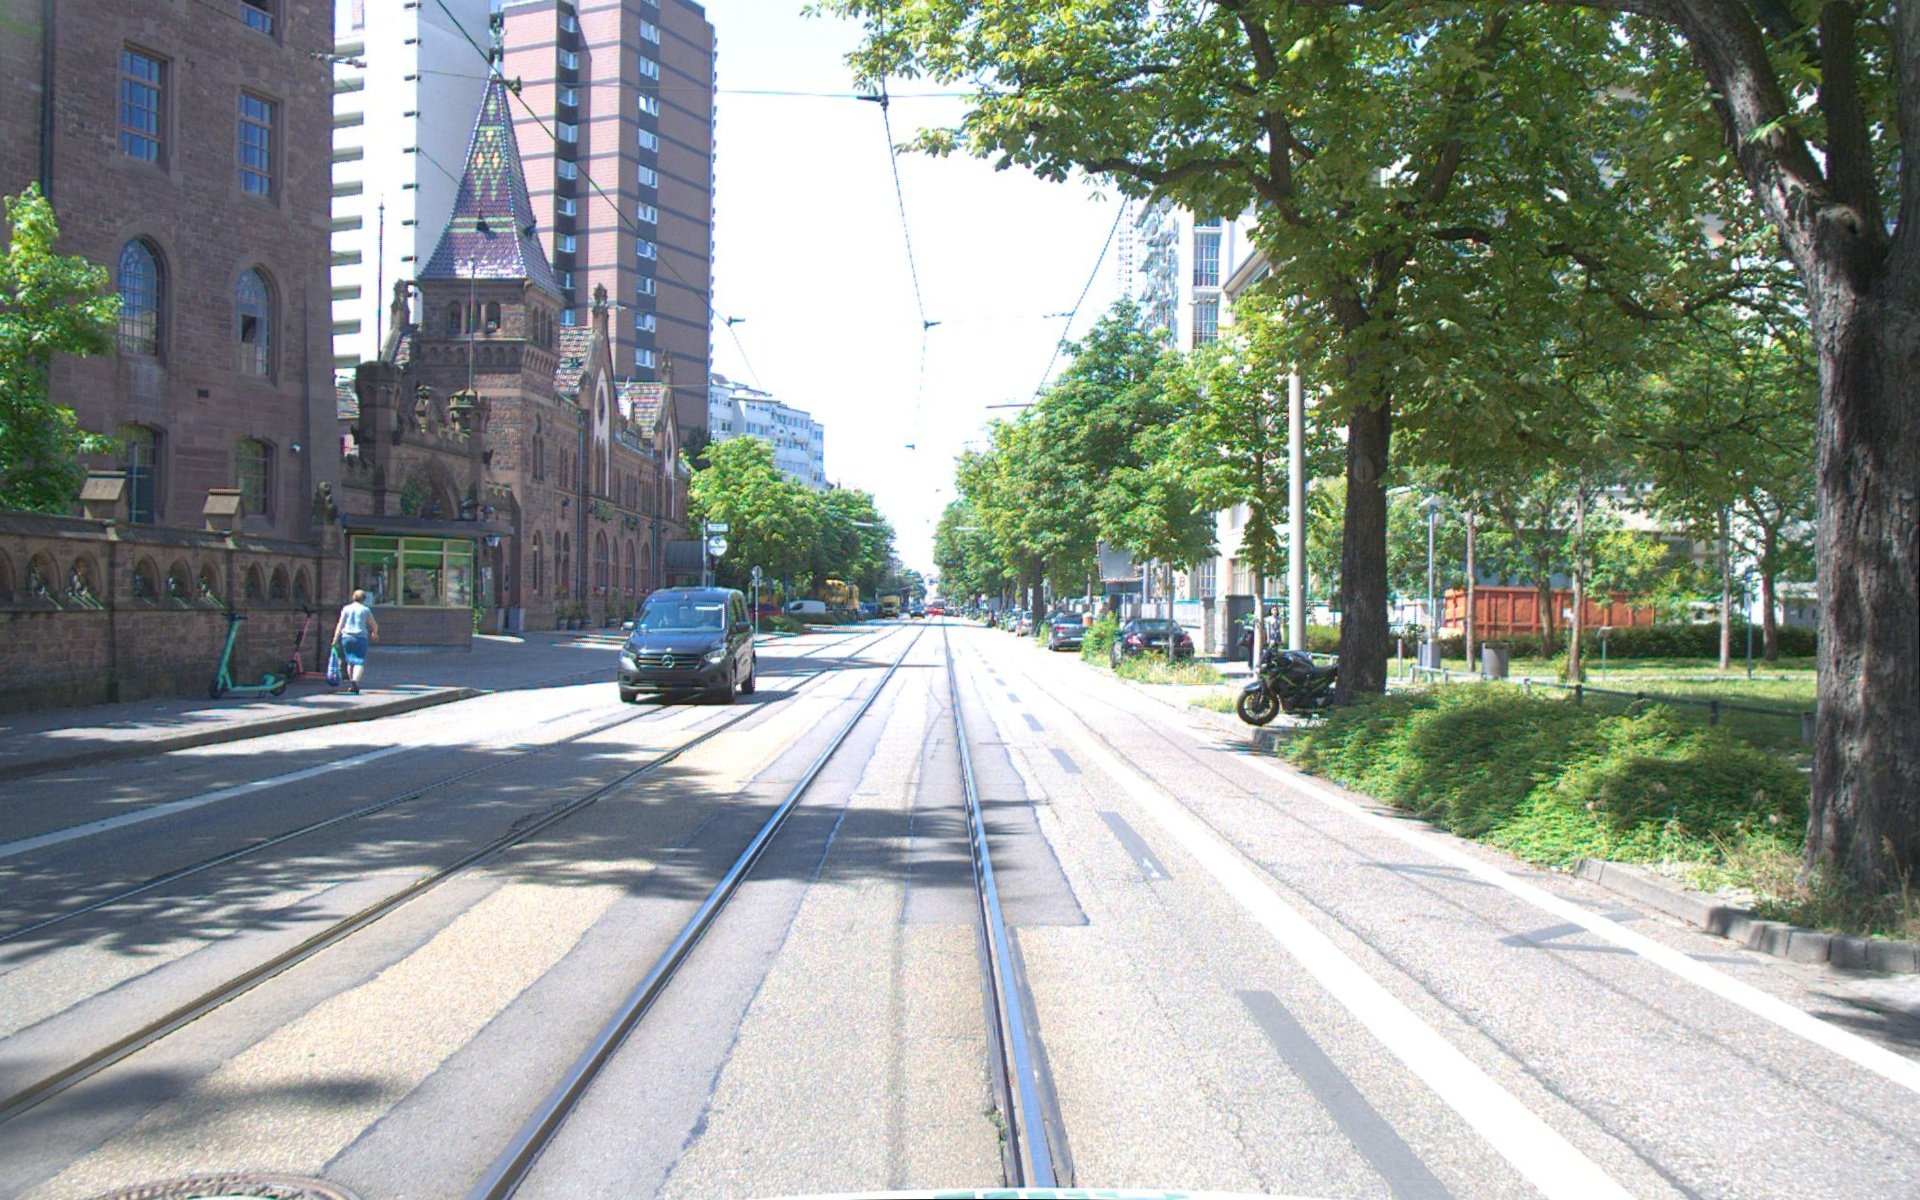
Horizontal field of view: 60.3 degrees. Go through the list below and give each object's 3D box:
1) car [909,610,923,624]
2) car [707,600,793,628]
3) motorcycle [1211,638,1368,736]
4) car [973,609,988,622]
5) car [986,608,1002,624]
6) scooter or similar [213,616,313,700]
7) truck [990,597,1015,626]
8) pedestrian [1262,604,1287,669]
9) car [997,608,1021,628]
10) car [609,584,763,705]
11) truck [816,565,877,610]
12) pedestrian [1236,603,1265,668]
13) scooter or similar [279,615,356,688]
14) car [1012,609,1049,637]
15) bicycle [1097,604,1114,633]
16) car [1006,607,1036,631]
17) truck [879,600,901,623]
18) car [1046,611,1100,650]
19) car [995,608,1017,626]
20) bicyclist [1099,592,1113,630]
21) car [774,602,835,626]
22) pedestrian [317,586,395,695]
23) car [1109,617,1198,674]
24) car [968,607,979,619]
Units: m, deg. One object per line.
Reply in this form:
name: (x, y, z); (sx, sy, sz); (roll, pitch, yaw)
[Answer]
car: (-5.851, 2.246, 219.337); (1.793, 1.710, 4.184); (0, 0, 0)
car: (-12.541, 0.843, 98.852); (4.712, 1.594, 1.982); (1, -1, -29)
motorcycle: (4.397, 1.145, 22.156); (2.023, 1.234, 0.610); (0, -2, 39)
car: (2.501, 1.932, 201.420); (1.606, 1.511, 3.870); (0, -1, -4)
car: (3.438, 1.594, 167.523); (1.610, 1.561, 3.785); (0, 0, 1)
scooter or similar: (-9.837, 0.823, 23.360); (0.343, 1.146, 1.217); (1, -2, 42)
truck: (3.784, 1.006, 148.016); (1.973, 2.532, 5.954); (0, 0, -1)
pedestrian: (7.845, 0.914, 41.227); (0.502, 1.601, 0.544); (-1, 0, -1)
car: (3.735, 1.350, 126.412); (1.787, 1.497, 4.486); (0, 0, 1)
car: (-4.396, 0.680, 27.171); (1.866, 1.819, 4.254); (0, 0, -1)
truck: (-10.960, -1.161, 160.823); (2.657, 3.909, 10.971); (2, -1, 13)
pedestrian: (7.239, 0.889, 41.245); (0.606, 1.601, 0.610); (-1, 0, -1)
scooter or similar: (-10.396, 0.831, 26.806); (0.322, 1.146, 1.221); (1, 0, 27)
car: (3.953, 1.276, 93.823); (1.638, 1.525, 4.362); (0, 0, -4)
bicycle: (6.565, 0.834, 74.574); (0.543, 1.287, 1.773); (-2, 0, 0)
car: (3.901, 1.217, 106.563); (1.637, 1.544, 4.200); (0, 0, -1)
truck: (-9.071, 1.456, 215.428); (2.312, 2.902, 7.378); (-1, 0, 1)
car: (4.268, 1.138, 63.189); (1.637, 1.433, 4.747); (0, 0, -1)
car: (3.833, 1.408, 137.284); (1.786, 1.497, 4.401); (0, 0, 2)
bicyclist: (6.576, 0.492, 74.549); (0.568, 1.677, 0.599); (-1, 0, -1)
car: (-12.317, 1.113, 131.313); (4.491, 1.822, 1.879); (2, 0, -33)
pedestrian: (-9.388, 0.621, 25.735); (0.783, 1.616, 0.919); (3, 0, -1)
car: (4.781, 1.107, 41.356); (1.715, 1.293, 3.833); (2, 0, 0)
car: (1.989, 1.908, 242.537); (1.560, 1.645, 3.906); (0, -1, -1)
